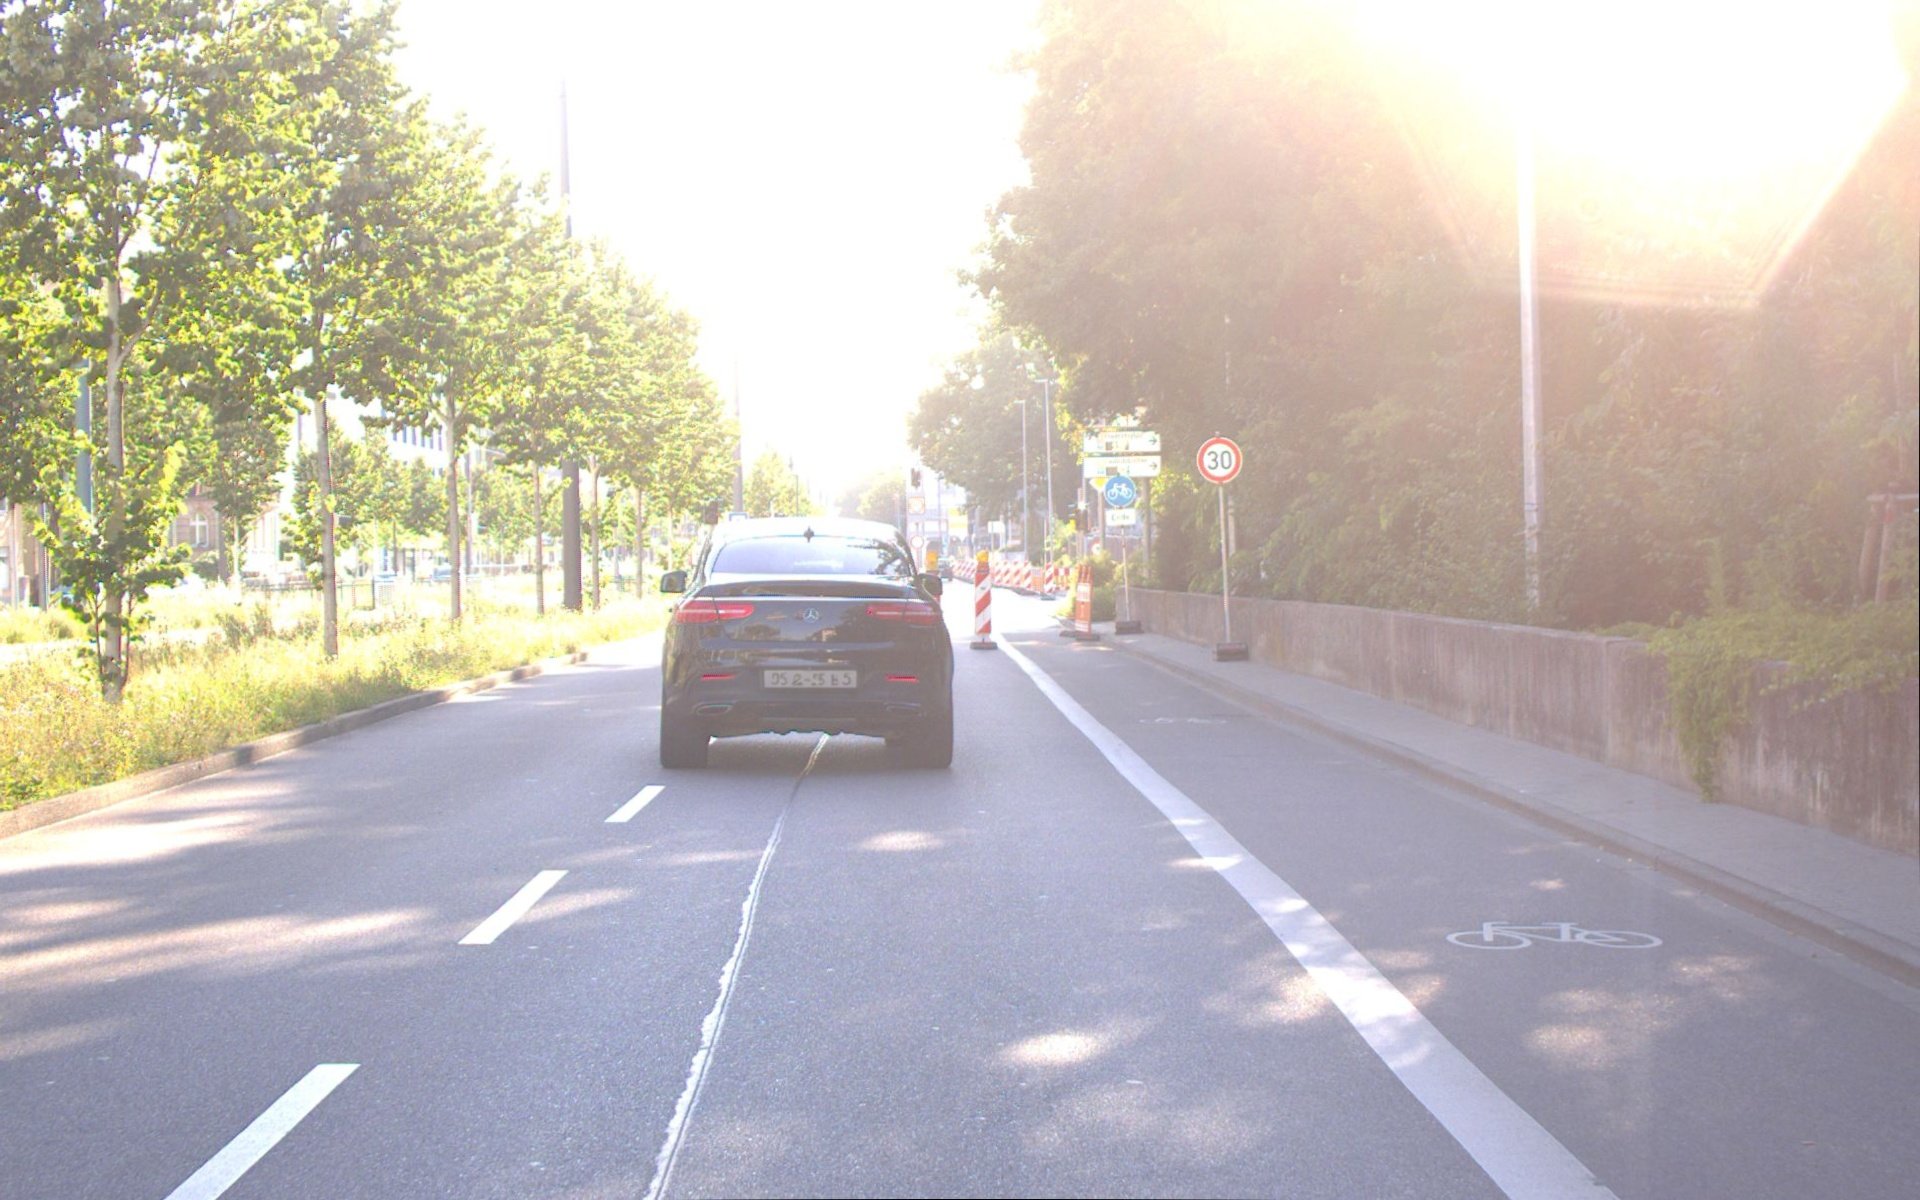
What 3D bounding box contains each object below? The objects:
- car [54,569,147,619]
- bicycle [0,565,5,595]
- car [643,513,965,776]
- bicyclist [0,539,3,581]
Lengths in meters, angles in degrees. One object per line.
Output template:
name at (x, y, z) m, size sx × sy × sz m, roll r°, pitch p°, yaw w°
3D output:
car at (-27.081, -0.206, 108.440) m, size 1.885 × 1.509 × 4.000 m, roll 0°, pitch 1°, yaw 1°
bicycle at (-31.153, -0.630, 110.320) m, size 0.606 × 0.960 × 1.717 m, roll 0°, pitch 1°, yaw -3°
car at (-1.207, 0.258, 24.712) m, size 1.993 × 1.728 × 4.001 m, roll 0°, pitch 1°, yaw -7°
bicyclist at (-31.121, -1.271, 110.386) m, size 0.592 × 1.350 × 0.760 m, roll 0°, pitch 1°, yaw -4°
